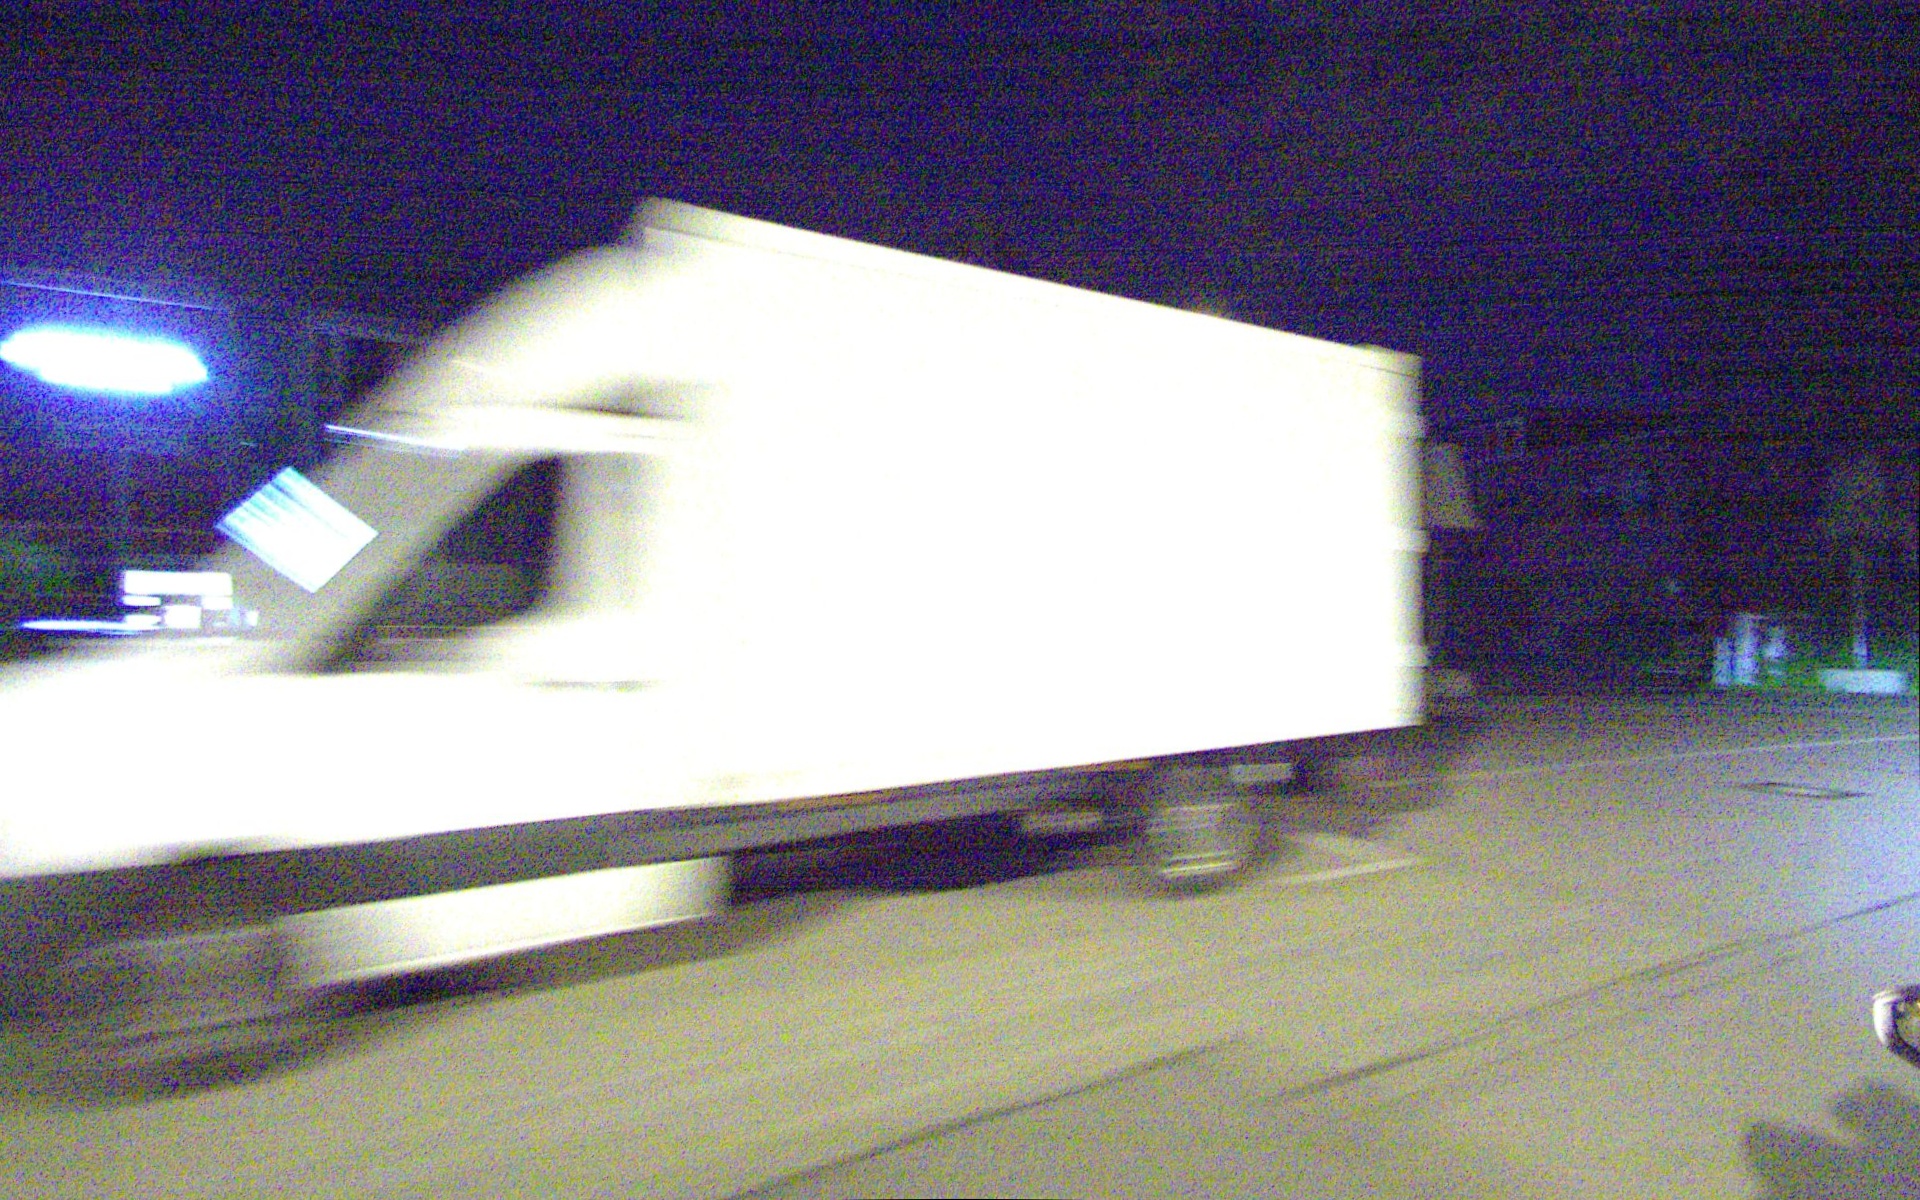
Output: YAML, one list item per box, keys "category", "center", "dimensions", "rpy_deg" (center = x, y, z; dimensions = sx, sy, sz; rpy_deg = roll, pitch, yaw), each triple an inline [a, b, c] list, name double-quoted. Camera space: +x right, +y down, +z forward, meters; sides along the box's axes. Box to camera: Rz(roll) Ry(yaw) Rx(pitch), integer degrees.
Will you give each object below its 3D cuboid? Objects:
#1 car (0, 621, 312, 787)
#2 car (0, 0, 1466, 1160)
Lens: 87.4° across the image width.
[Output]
- category: "car"
  center: [-9.826, 1.097, 11.183]
  dimensions: [3.929, 1.661, 1.860]
  rpy_deg: [1, -1, -11]
- category: "car"
  center: [-0.531, -0.104, 5.296]
  dimensions: [7.153, 3.286, 2.368]
  rpy_deg: [2, 0, -33]
